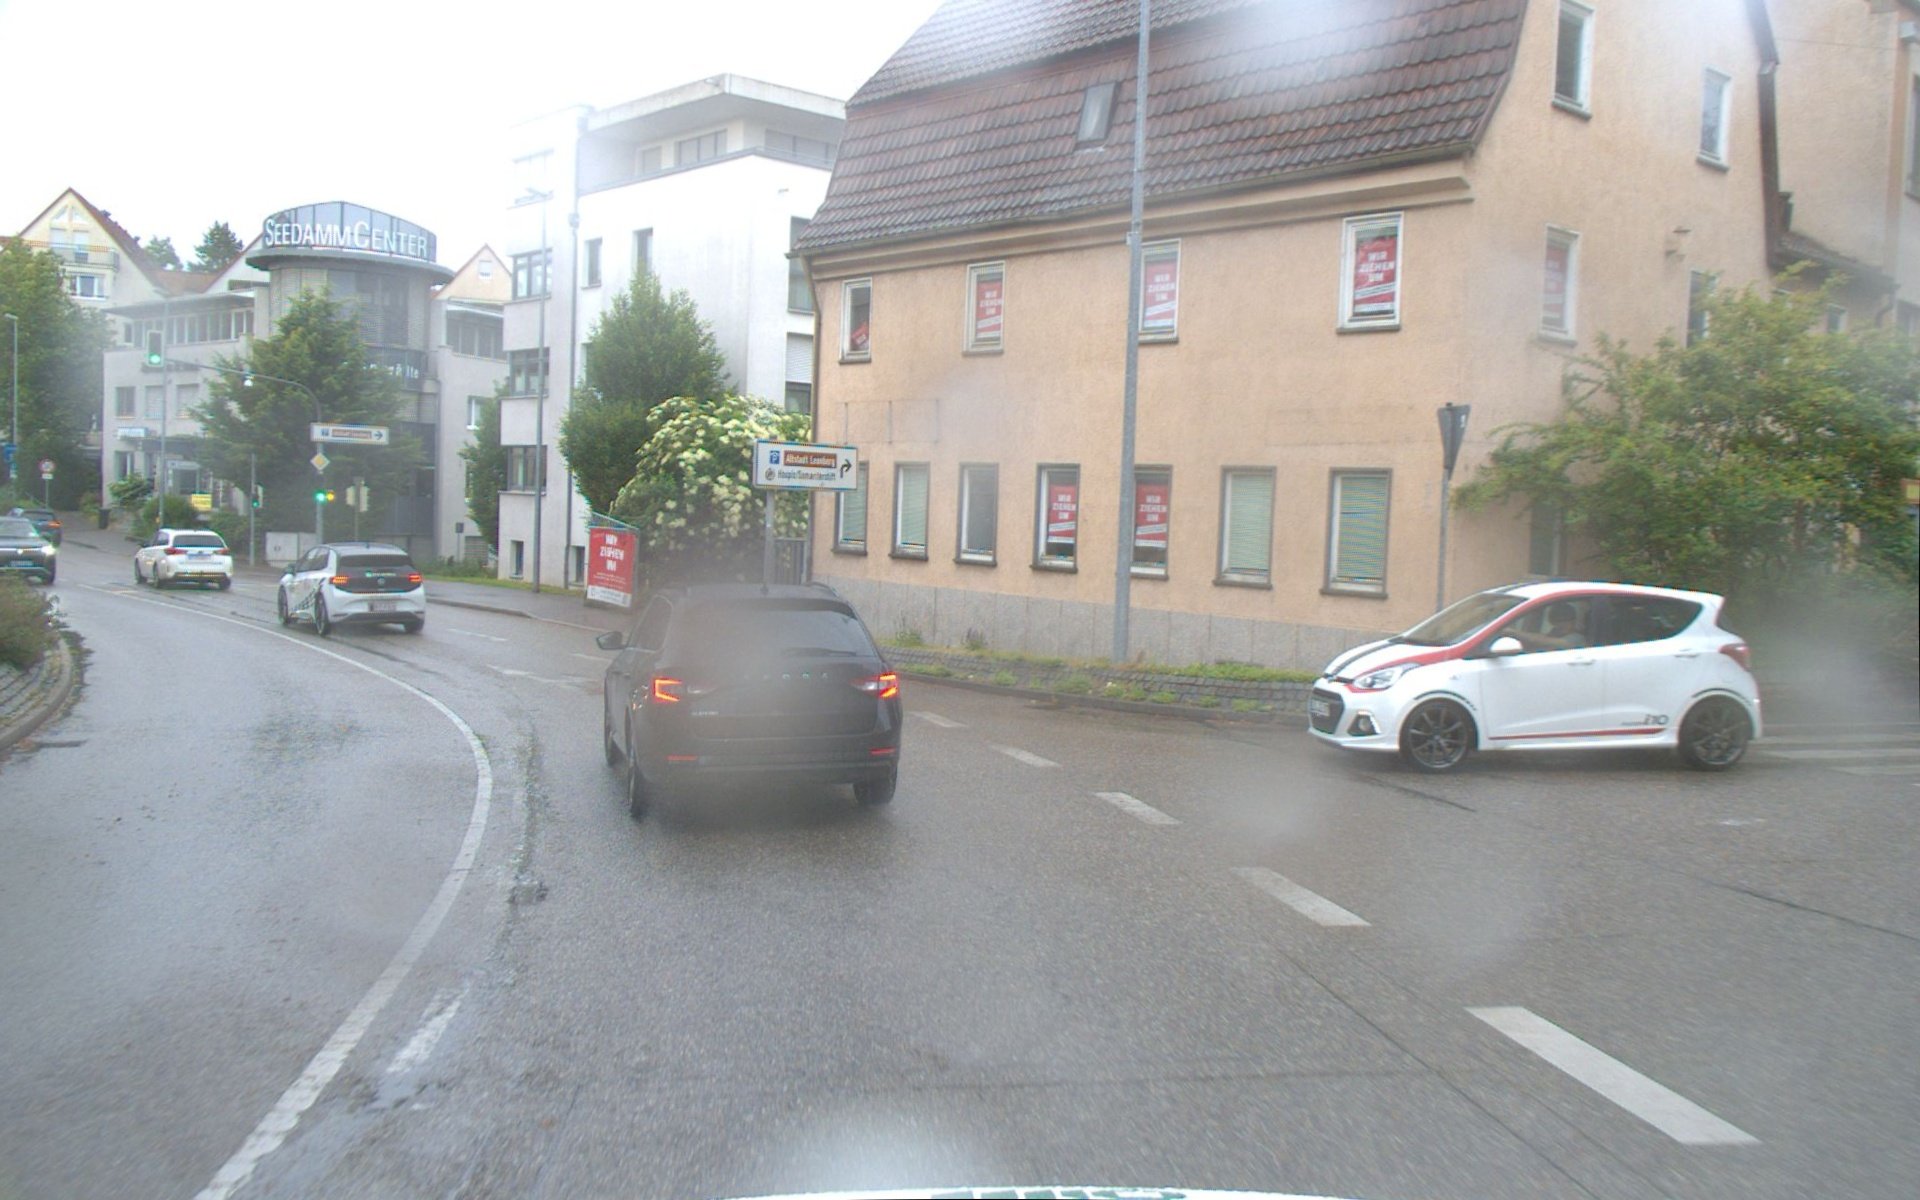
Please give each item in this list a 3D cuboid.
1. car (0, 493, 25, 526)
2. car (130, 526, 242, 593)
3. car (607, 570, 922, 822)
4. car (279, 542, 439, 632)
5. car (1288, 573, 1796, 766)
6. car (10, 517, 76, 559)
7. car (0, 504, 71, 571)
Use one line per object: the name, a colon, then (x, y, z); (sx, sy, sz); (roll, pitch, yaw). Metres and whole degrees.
car: (-51.325, -4.857, 88.156); (1.844, 1.669, 3.483); (-2, 5, -43)
car: (-19.915, -1.014, 42.466); (1.716, 1.618, 4.127); (1, 0, -38)
car: (-1.613, 0.612, 12.203); (1.752, 1.509, 4.229); (0, -1, -15)
car: (-10.934, -0.277, 29.933); (1.802, 1.383, 3.943); (0, 3, -34)
car: (4.823, 0.537, 14.010); (3.678, 1.478, 1.711); (0, 2, -5)
car: (-37.082, -2.527, 66.843); (1.879, 1.618, 3.641); (-2, 4, -37)
car: (-24.595, -1.644, 42.885); (1.882, 1.622, 4.293); (-4, 5, -40)
